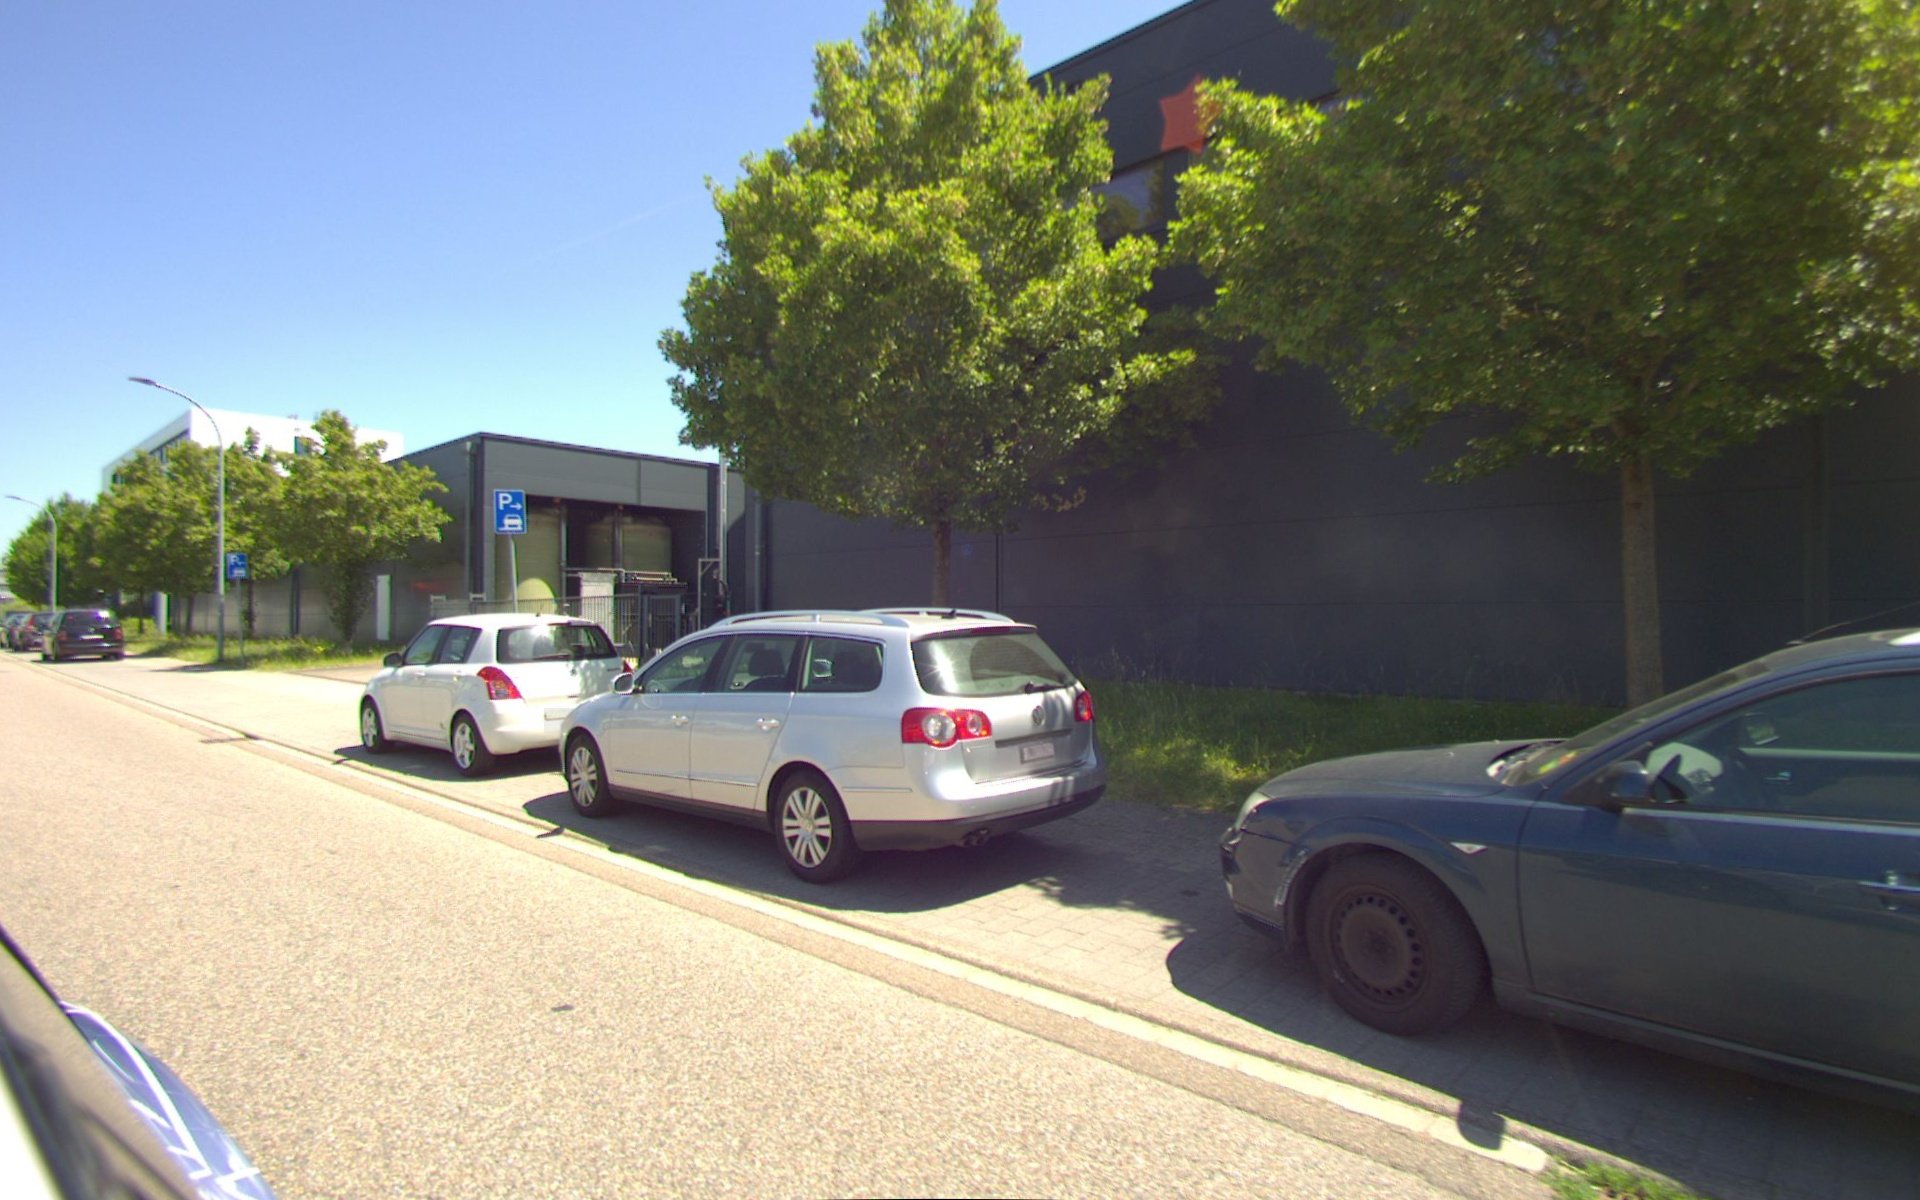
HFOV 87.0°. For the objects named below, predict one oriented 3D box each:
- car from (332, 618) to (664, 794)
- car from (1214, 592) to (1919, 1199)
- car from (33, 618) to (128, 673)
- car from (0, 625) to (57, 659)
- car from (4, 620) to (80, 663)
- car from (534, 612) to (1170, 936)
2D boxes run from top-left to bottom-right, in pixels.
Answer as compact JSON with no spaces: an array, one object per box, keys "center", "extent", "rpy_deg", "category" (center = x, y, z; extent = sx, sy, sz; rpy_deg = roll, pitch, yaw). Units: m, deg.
[{"center":[-4.915,0.948,10.557],"extent":[3.855,1.487,1.703],"rpy_deg":[-1,-1,41],"category":"car"},{"center":[3.209,0.724,2.856],"extent":[1.777,1.487,4.643],"rpy_deg":[1,-1,-42],"category":"car"},{"center":[-27.945,1.393,32.120],"extent":[4.246,1.624,1.752],"rpy_deg":[-1,-1,42],"category":"car"},{"center":[-41.410,1.815,44.736],"extent":[4.199,1.442,1.752],"rpy_deg":[-1,-1,42],"category":"car"},{"center":[-36.748,1.627,40.487],"extent":[4.850,1.624,1.752],"rpy_deg":[-1,-1,42],"category":"car"},{"center":[-1.025,0.844,6.881],"extent":[4.555,1.487,1.779],"rpy_deg":[-1,-1,43],"category":"car"}]
